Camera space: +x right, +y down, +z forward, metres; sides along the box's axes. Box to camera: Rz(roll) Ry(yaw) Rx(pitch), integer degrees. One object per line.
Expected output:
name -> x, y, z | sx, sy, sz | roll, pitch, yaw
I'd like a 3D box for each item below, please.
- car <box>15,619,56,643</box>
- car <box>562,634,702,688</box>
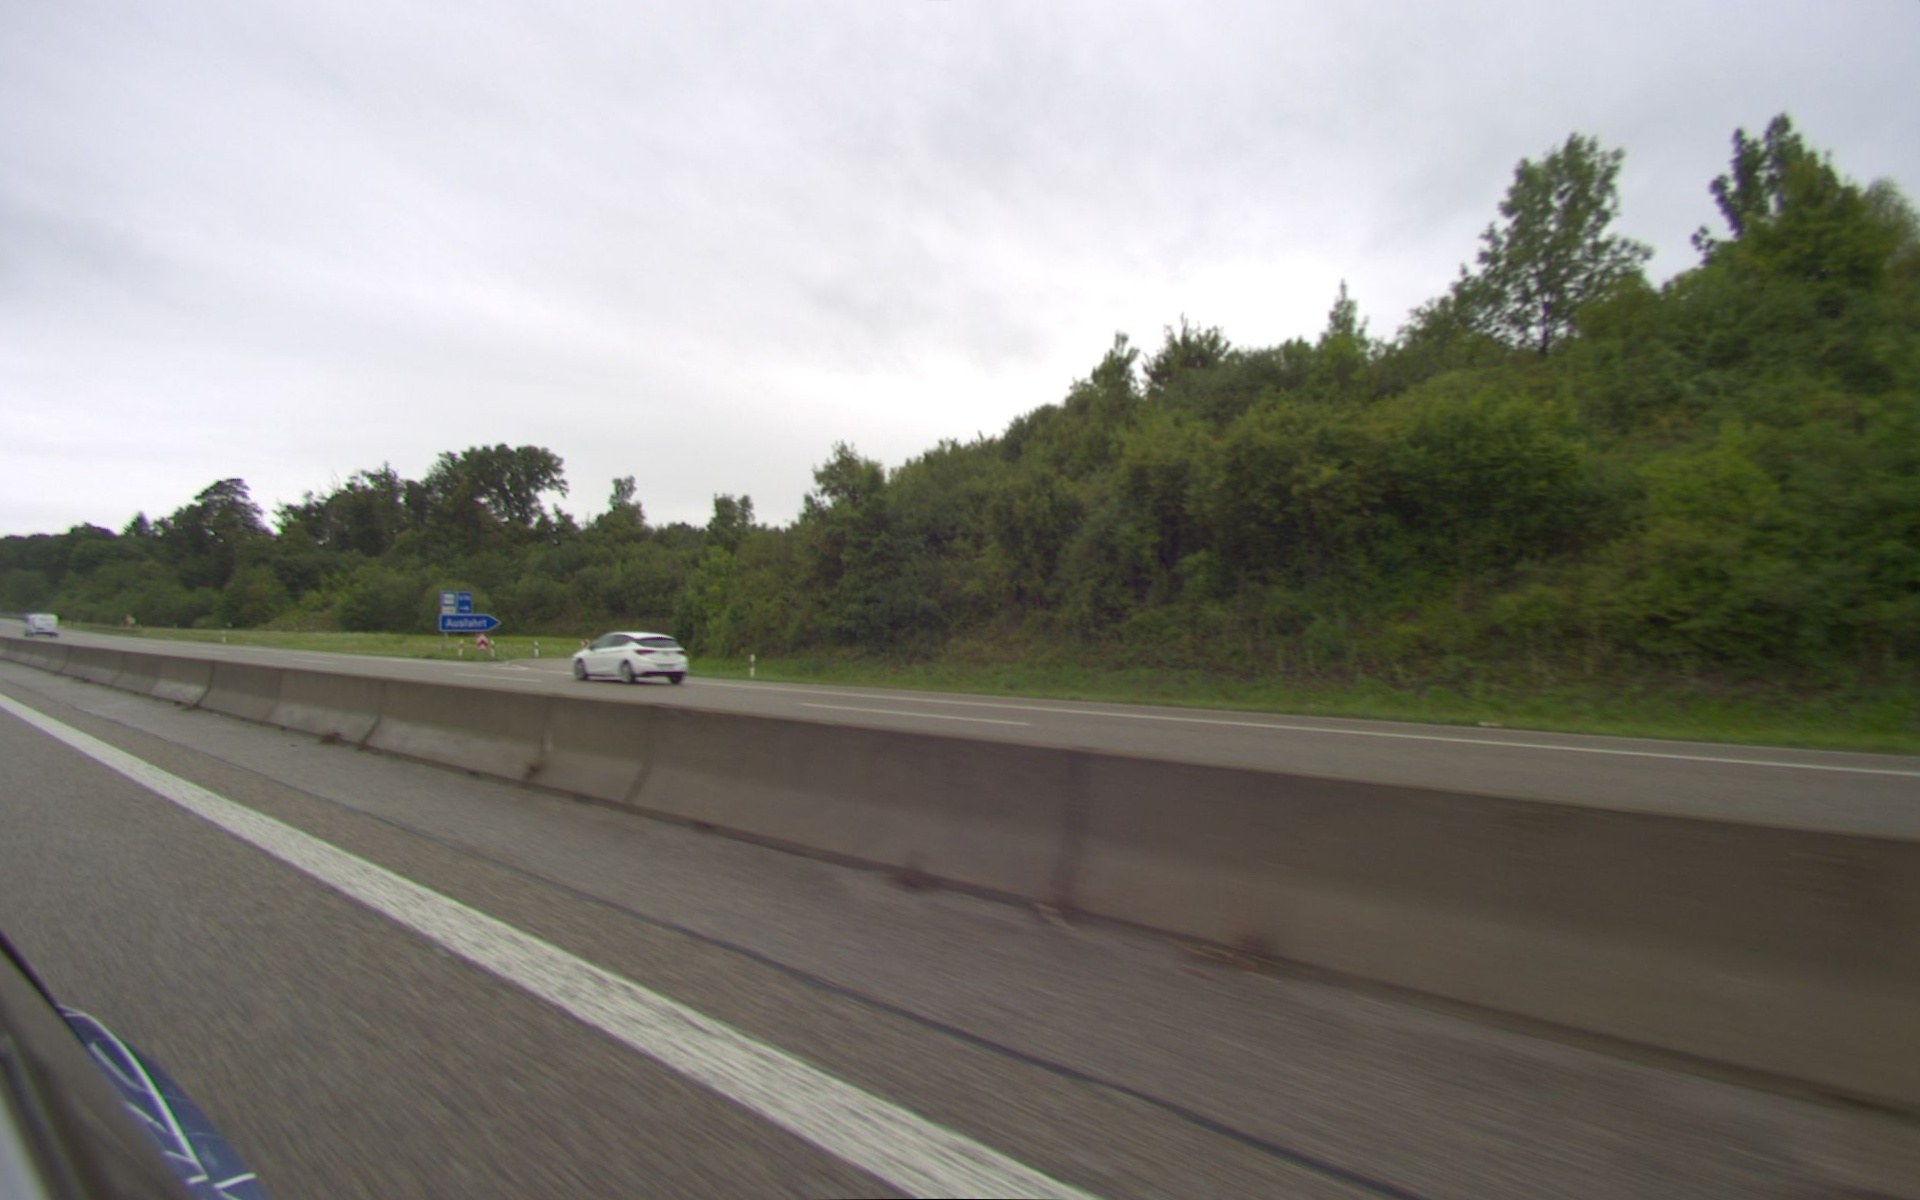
car -> -84.023, 2.821, 91.970 | 5.757, 2.029, 1.973 | -1, 1, 40
car -> -9.693, 1.738, 29.700 | 4.627, 1.461, 1.779 | -1, -3, 41
